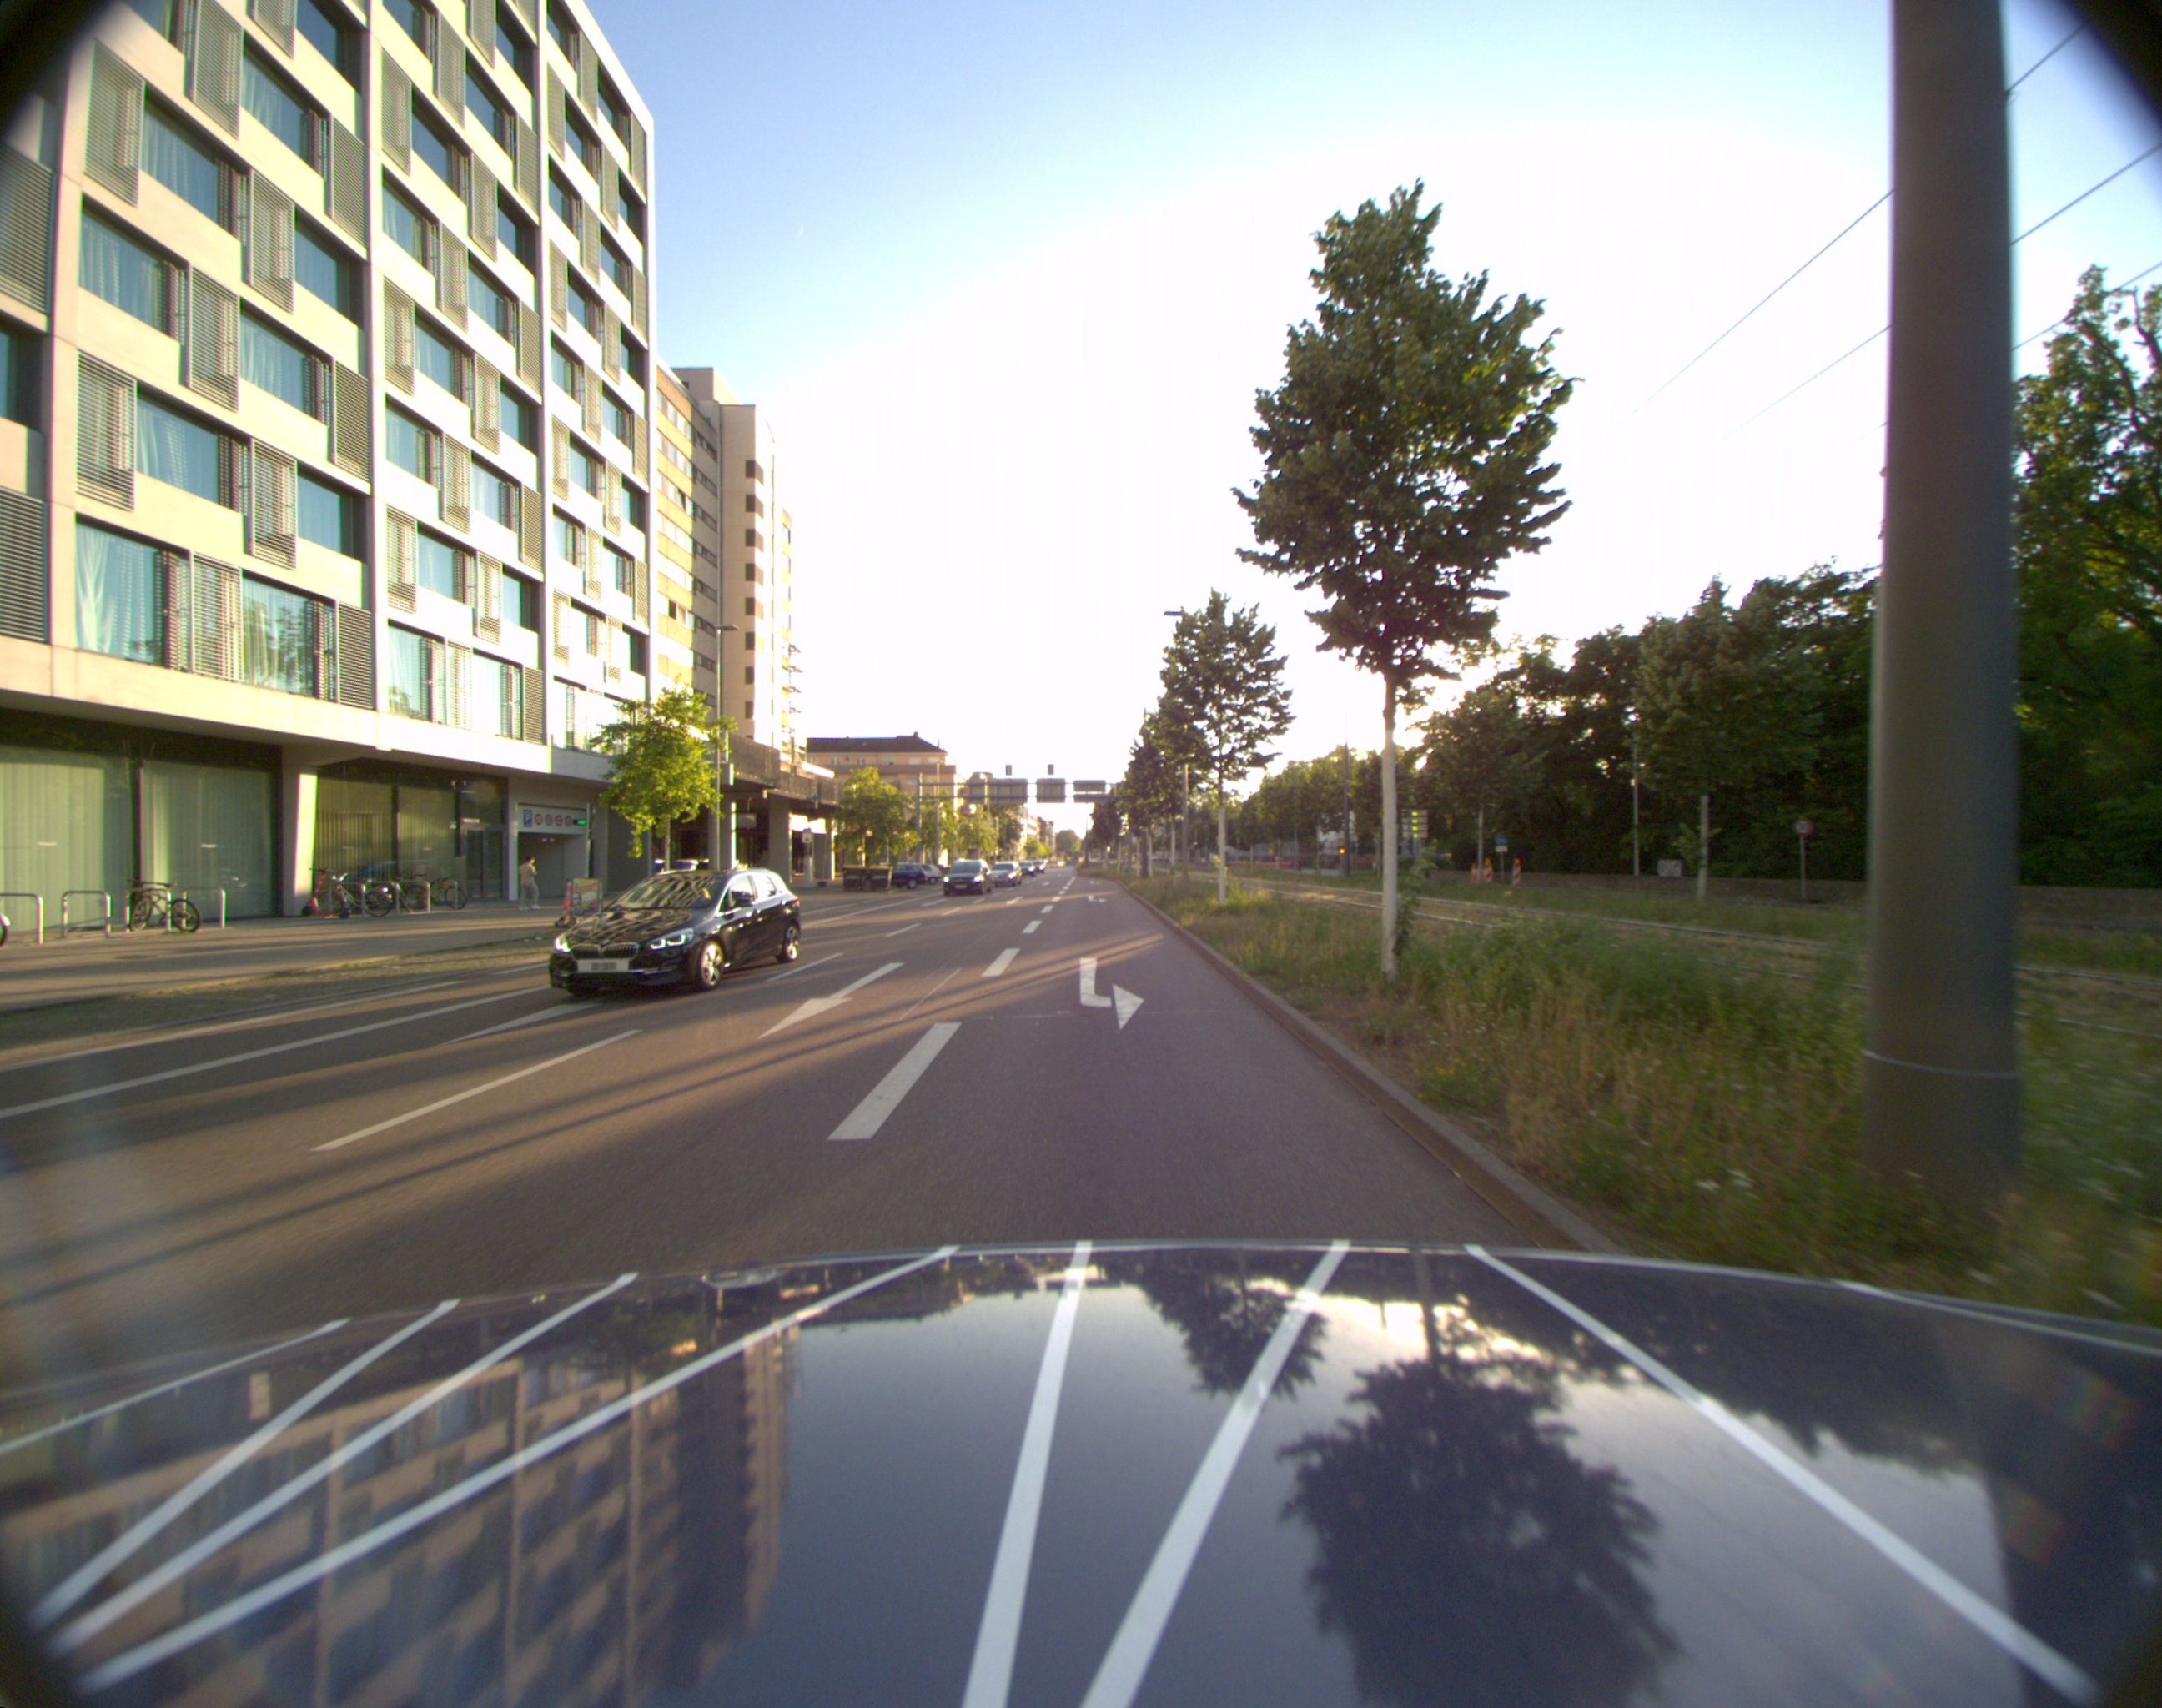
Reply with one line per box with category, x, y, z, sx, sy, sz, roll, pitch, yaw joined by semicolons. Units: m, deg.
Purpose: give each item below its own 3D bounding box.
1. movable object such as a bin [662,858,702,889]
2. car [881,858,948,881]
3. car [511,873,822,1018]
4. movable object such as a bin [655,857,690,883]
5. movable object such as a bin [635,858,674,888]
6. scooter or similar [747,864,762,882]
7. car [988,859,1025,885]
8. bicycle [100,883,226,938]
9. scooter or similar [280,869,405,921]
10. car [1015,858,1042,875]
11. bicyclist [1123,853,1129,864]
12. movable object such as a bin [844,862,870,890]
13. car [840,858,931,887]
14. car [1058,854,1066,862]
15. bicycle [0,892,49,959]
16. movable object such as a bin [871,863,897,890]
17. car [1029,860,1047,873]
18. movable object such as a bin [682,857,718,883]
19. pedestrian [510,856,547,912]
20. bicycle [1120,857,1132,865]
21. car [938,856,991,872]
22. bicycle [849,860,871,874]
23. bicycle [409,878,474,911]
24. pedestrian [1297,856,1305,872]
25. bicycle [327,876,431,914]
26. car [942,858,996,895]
movable object such as a bin;-17.992;0.855;34.268;1.107;1.322;1.283;2;0;0
car;-11.090;1.070;50.777;3.999;1.408;1.746;2;0;-37
car;-5.551;1.102;11.084;1.825;1.510;4.791;-2;0;1
movable object such as a bin;-20.720;0.808;38.570;1.184;1.305;1.124;0;0;-1
movable object such as a bin;-19.174;0.852;34.174;1.076;1.322;1.202;1;0;0
scooter or similar;-21.875;1.290;50.911;0.402;1.154;1.829;-2;0;-9
car;-4.517;1.067;46.764;1.833;1.455;4.303;-2;0;0
bicycle;-17.890;1.100;14.823;1.704;0.980;0.551;2;0;-2
scooter or similar;-17.784;0.984;18.316;2.378;1.176;0.620;1;0;0
car;-4.753;1.088;68.754;1.915;1.387;4.277;-2;0;2
bicyclist;6.925;0.701;117.369;0.944;1.611;0.717;-2;0;2
movable object such as a bin;-11.540;1.130;39.233;1.017;1.339;1.160;2;0;-4
car;-11.300;1.082;44.123;4.679;1.499;1.934;2;0;-39
car;-4.582;0.941;180.271;1.727;1.909;4.293;-2;0;-3
bicycle;-17.909;1.115;12.180;1.890;1.004;0.565;2;0;-1
movable object such as a bin;-10.178;1.146;39.324;1.088;1.294;1.360;2;0;-6
car;-4.916;1.459;86.969;1.863;1.387;4.275;-2;0;-3
movable object such as a bin;-19.344;0.821;38.605;1.184;1.291;1.304;0;0;-1
pedestrian;-16.050;0.864;22.070;0.578;1.609;0.643;2;0;-2
bicycle;6.961;1.136;117.370;1.896;1.126;0.717;-2;0;2
car;-11.076;0.955;72.424;4.617;1.444;1.808;2;0;-40
bicycle;-17.534;1.014;60.310;1.576;1.042;0.433;2;0;-1
bicycle;-18.004;1.134;21.408;1.425;0.886;0.457;0;0;0
pedestrian;21.653;0.982;74.764;0.670;1.597;0.679;-2;-4;15
bicycle;-18.372;1.076;19.907;2.022;0.952;0.620;1;0;-6
car;-5.248;0.999;36.061;1.827;1.589;4.367;-2;0;0
